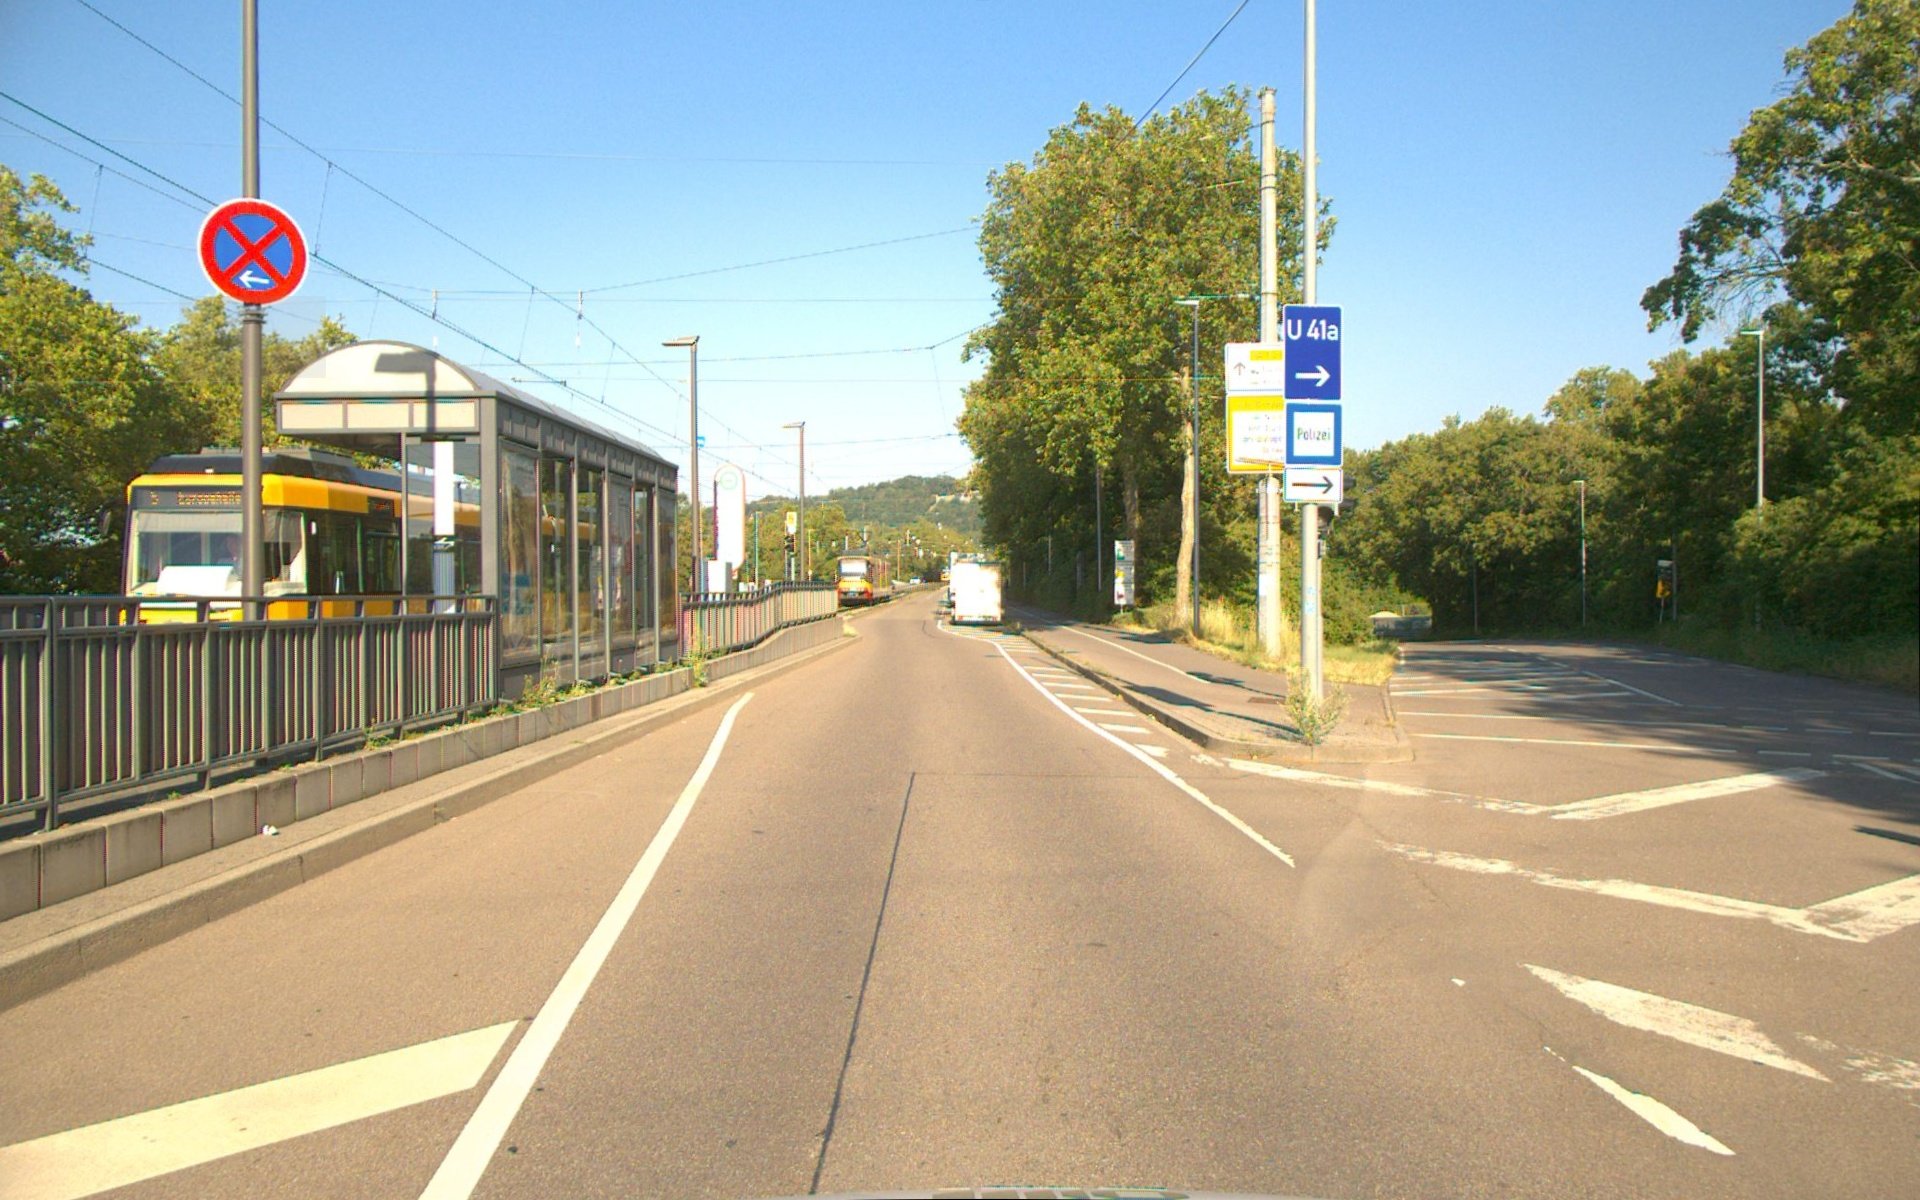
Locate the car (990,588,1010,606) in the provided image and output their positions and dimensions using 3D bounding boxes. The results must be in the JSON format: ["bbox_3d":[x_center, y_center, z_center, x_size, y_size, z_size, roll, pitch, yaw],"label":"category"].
[{"bbox_3d":[3.249,-0.234,134.634,1.619,1.462,3.778,0,0,1],"label":"car"}]

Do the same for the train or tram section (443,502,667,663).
[{"bbox_3d":[-10.646,-0.439,45.265,2.769,3.751,12.969,1,0,1],"label":"train or tram section"}]

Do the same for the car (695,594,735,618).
[{"bbox_3d":[-16.360,0.386,110.609,1.953,1.588,4.543,0,0,0],"label":"car"}]

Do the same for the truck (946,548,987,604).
[{"bbox_3d":[0.408,-1.698,119.573,2.686,3.849,10.088,1,0,-1],"label":"truck"}]

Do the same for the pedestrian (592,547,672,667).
[{"bbox_3d":[-4.266,0.088,21.497,0.746,1.519,0.693,0,0,33],"label":"pedestrian"}]

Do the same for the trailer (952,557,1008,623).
[{"bbox_3d":[0.925,-0.445,71.697,2.204,2.742,5.949,0,0,3],"label":"trailer"}]

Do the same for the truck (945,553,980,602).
[{"bbox_3d":[0.157,-1.853,138.537,2.662,3.849,9.760,1,0,-1],"label":"truck"}]

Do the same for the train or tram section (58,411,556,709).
[{"bbox_3d":[-10.953,-0.587,30.777,2.769,4.076,15.876,1,0,1],"label":"train or tram section"}]

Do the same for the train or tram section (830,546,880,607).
[{"bbox_3d":[-7.561,-1.667,120.465,2.666,4.162,13.615,-1,1,0],"label":"train or tram section"}]
